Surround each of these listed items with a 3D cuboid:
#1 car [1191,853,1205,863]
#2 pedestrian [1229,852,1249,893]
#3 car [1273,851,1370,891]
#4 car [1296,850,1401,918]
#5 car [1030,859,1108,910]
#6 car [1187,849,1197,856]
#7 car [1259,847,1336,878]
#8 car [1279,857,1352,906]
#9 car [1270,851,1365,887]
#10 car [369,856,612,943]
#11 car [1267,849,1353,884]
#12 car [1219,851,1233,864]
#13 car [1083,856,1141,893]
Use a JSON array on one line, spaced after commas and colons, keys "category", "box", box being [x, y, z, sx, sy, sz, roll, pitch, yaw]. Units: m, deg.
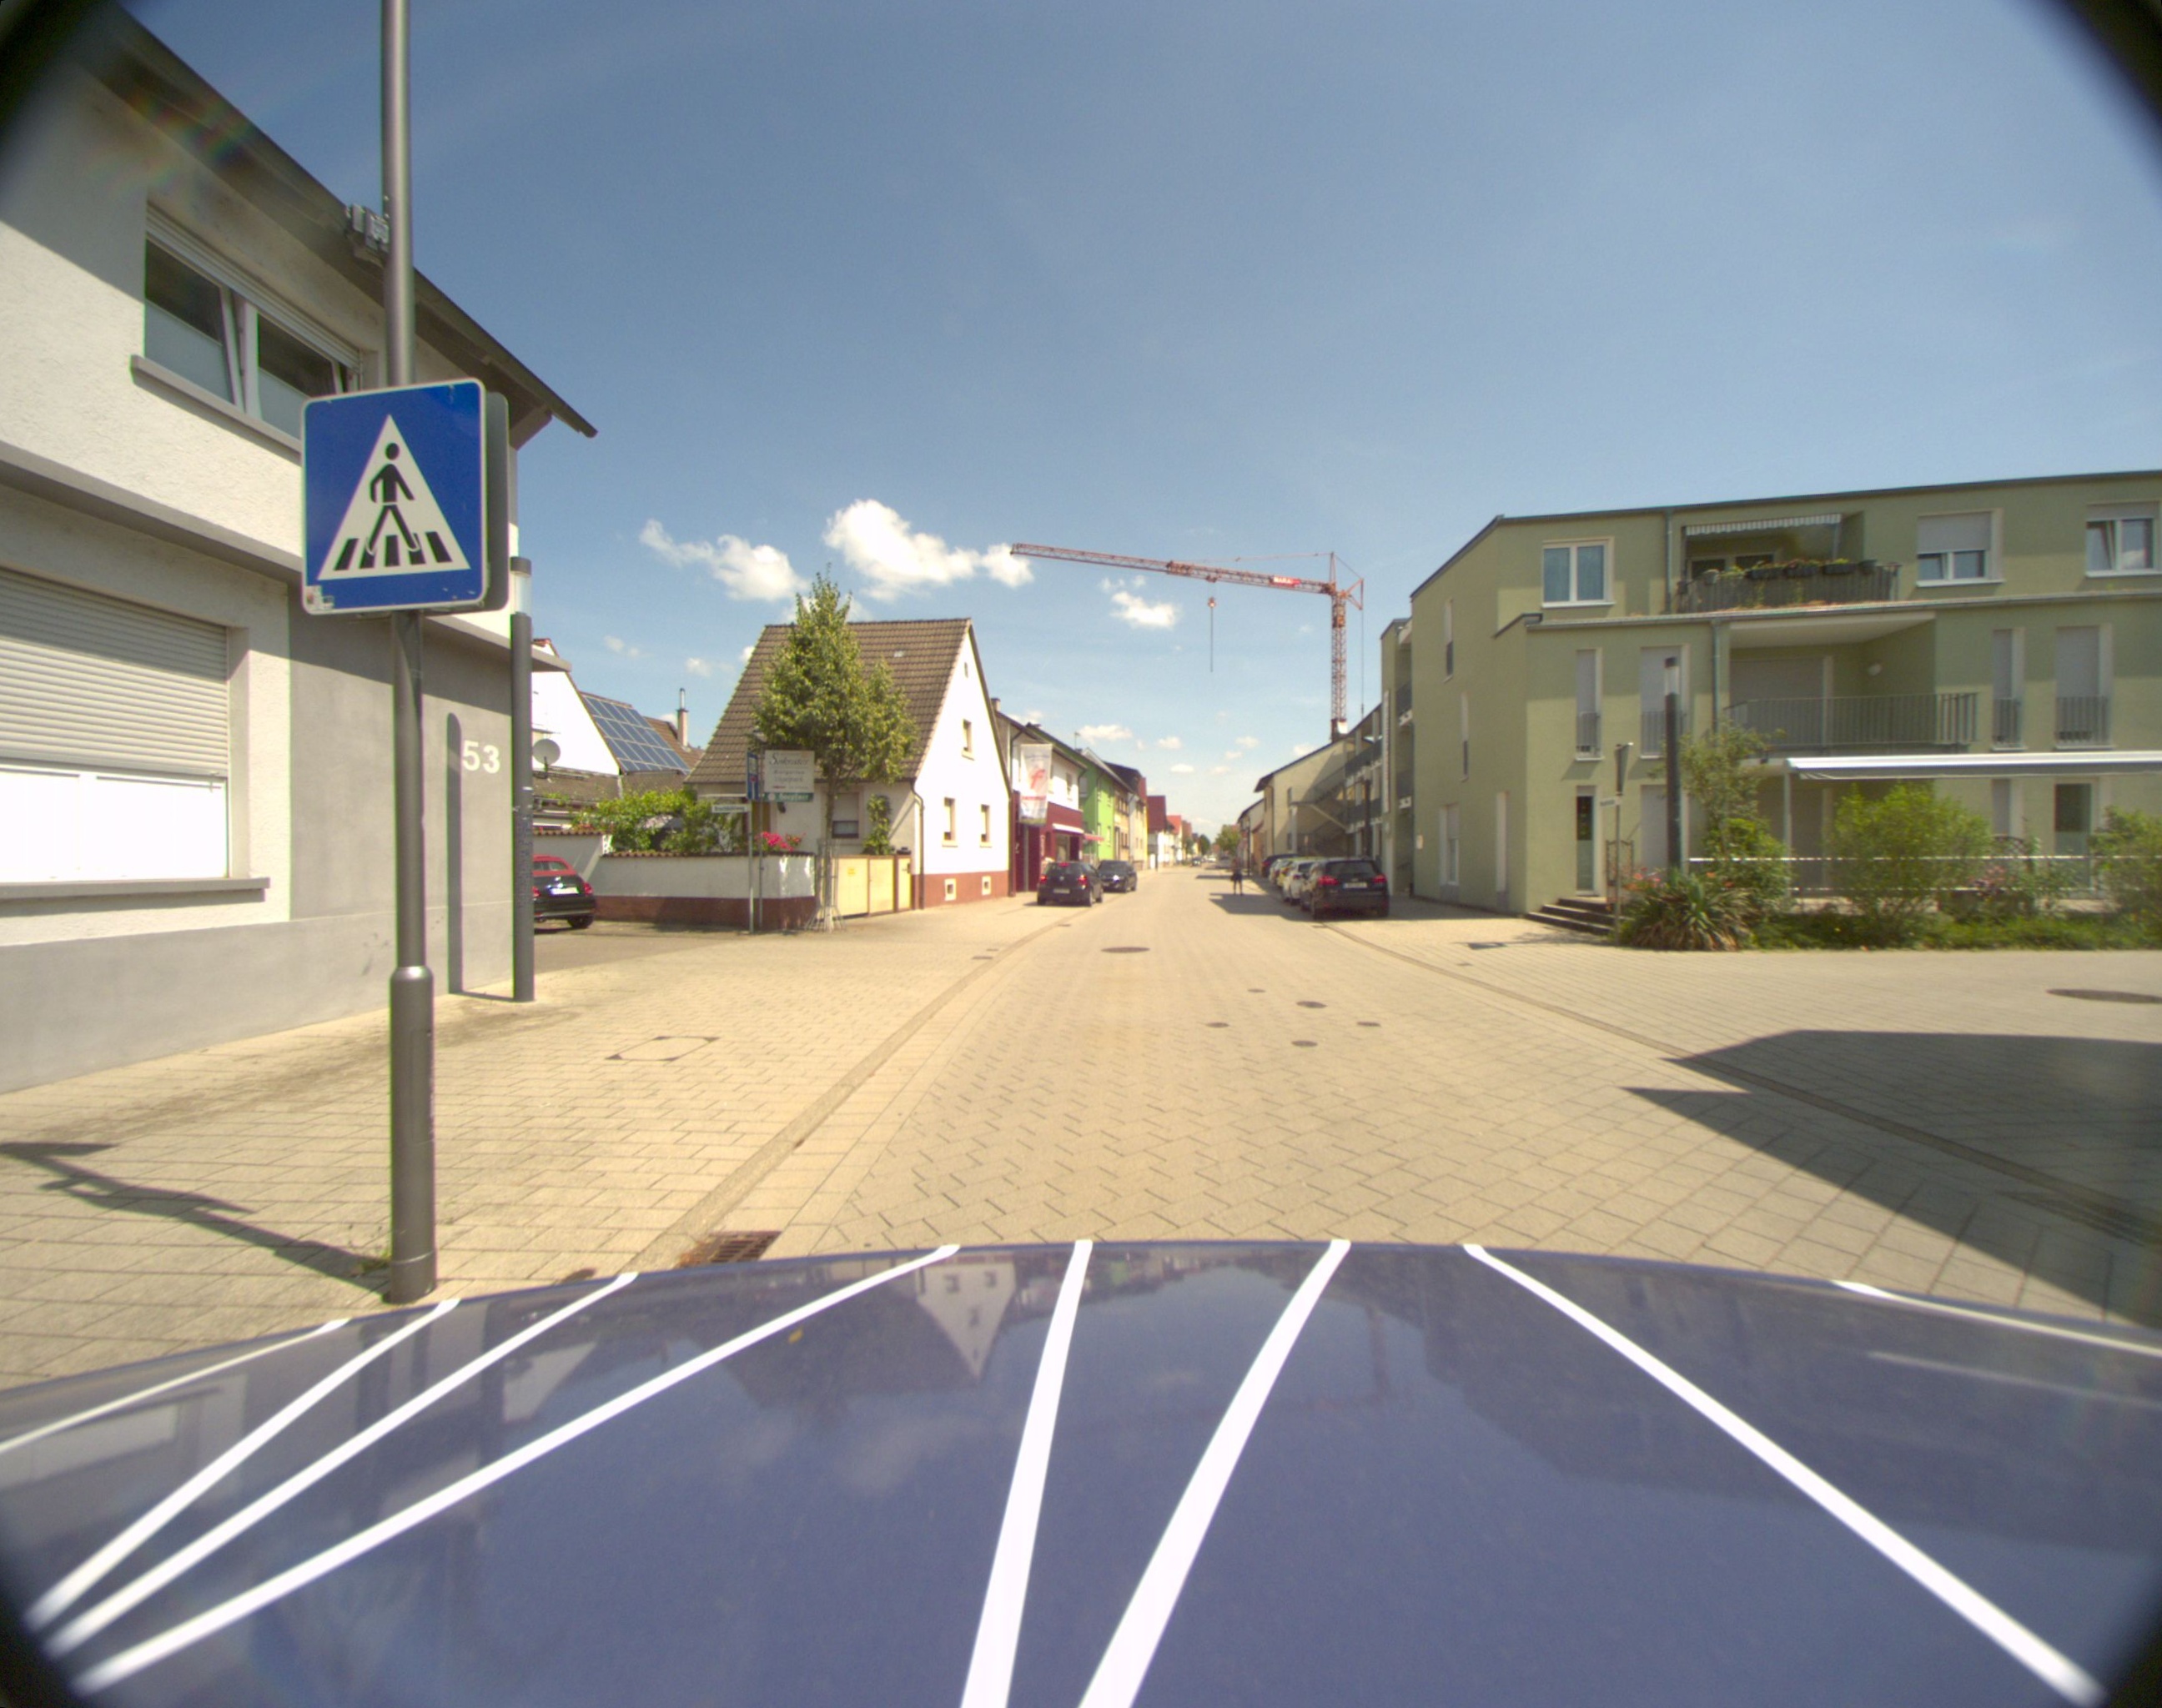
[{"category": "car", "box": [18.703, 0.614, 121.597, 1.956, 1.521, 4.003, 0, 0, 11]}, {"category": "pedestrian", "box": [6.503, 0.742, 31.224, 0.748, 1.630, 0.732, -2, 1, 12]}, {"category": "car", "box": [10.481, 0.715, 33.338, 3.700, 1.516, 1.673, -3, 0, 4]}, {"category": "car", "box": [6.686, 0.673, 19.437, 1.816, 1.481, 4.280, -2, 0, 10]}, {"category": "car", "box": [-0.283, 0.915, 24.551, 1.762, 1.430, 4.122, 0, 0, 10]}, {"category": "car", "box": [22.516, -0.304, 154.202, 1.725, 1.420, 3.821, -1, 0, 11]}, {"category": "car", "box": [12.955, 0.486, 45.678, 4.226, 1.648, 1.786, -3, 0, 11]}, {"category": "car", "box": [7.629, 0.853, 25.010, 1.761, 1.402, 3.880, -3, 0, 10]}, {"category": "car", "box": [11.001, 0.683, 35.573, 3.994, 1.433, 1.692, -4, 0, 10]}, {"category": "car", "box": [-11.329, 0.814, 14.654, 3.807, 1.510, 1.681, 0, 1, 14]}, {"category": "car", "box": [11.387, 0.616, 38.076, 3.907, 1.493, 1.752, -3, 0, 11]}, {"category": "car", "box": [17.917, 0.434, 93.724, 1.575, 1.552, 2.824, -3, 0, 13]}, {"category": "car", "box": [1.495, 0.879, 34.748, 1.861, 1.451, 4.590, 1, 1, 12]}]
